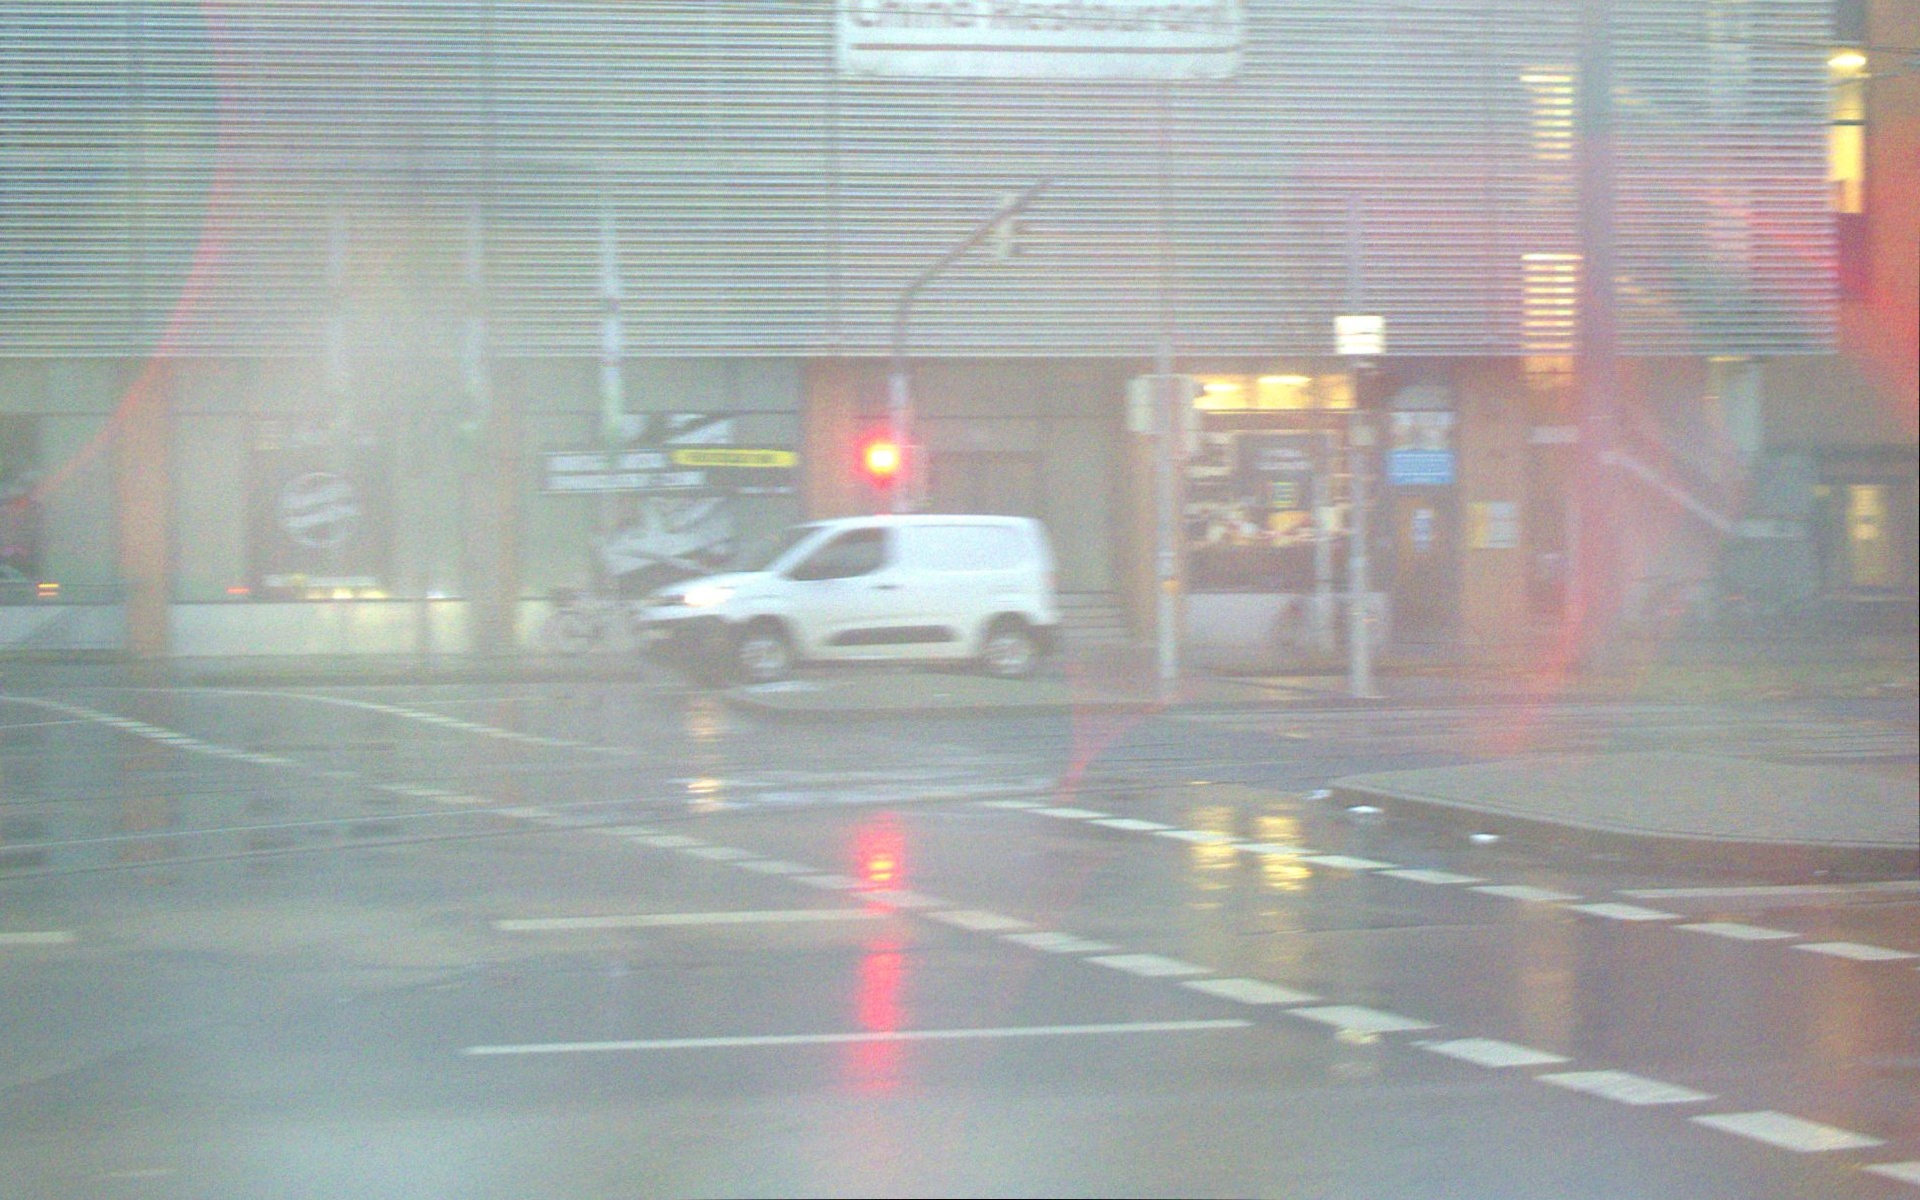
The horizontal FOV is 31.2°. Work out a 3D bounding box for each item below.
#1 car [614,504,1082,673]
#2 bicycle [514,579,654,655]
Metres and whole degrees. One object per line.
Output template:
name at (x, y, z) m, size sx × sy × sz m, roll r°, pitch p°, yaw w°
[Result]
car at (-1.196, -0.150, 36.628) m, size 4.594 × 1.713 × 1.930 m, roll -1°, pitch 1°, yaw -22°
bicycle at (-5.710, 0.260, 52.194) m, size 2.084 × 1.118 × 0.477 m, roll 1°, pitch 0°, yaw -8°
